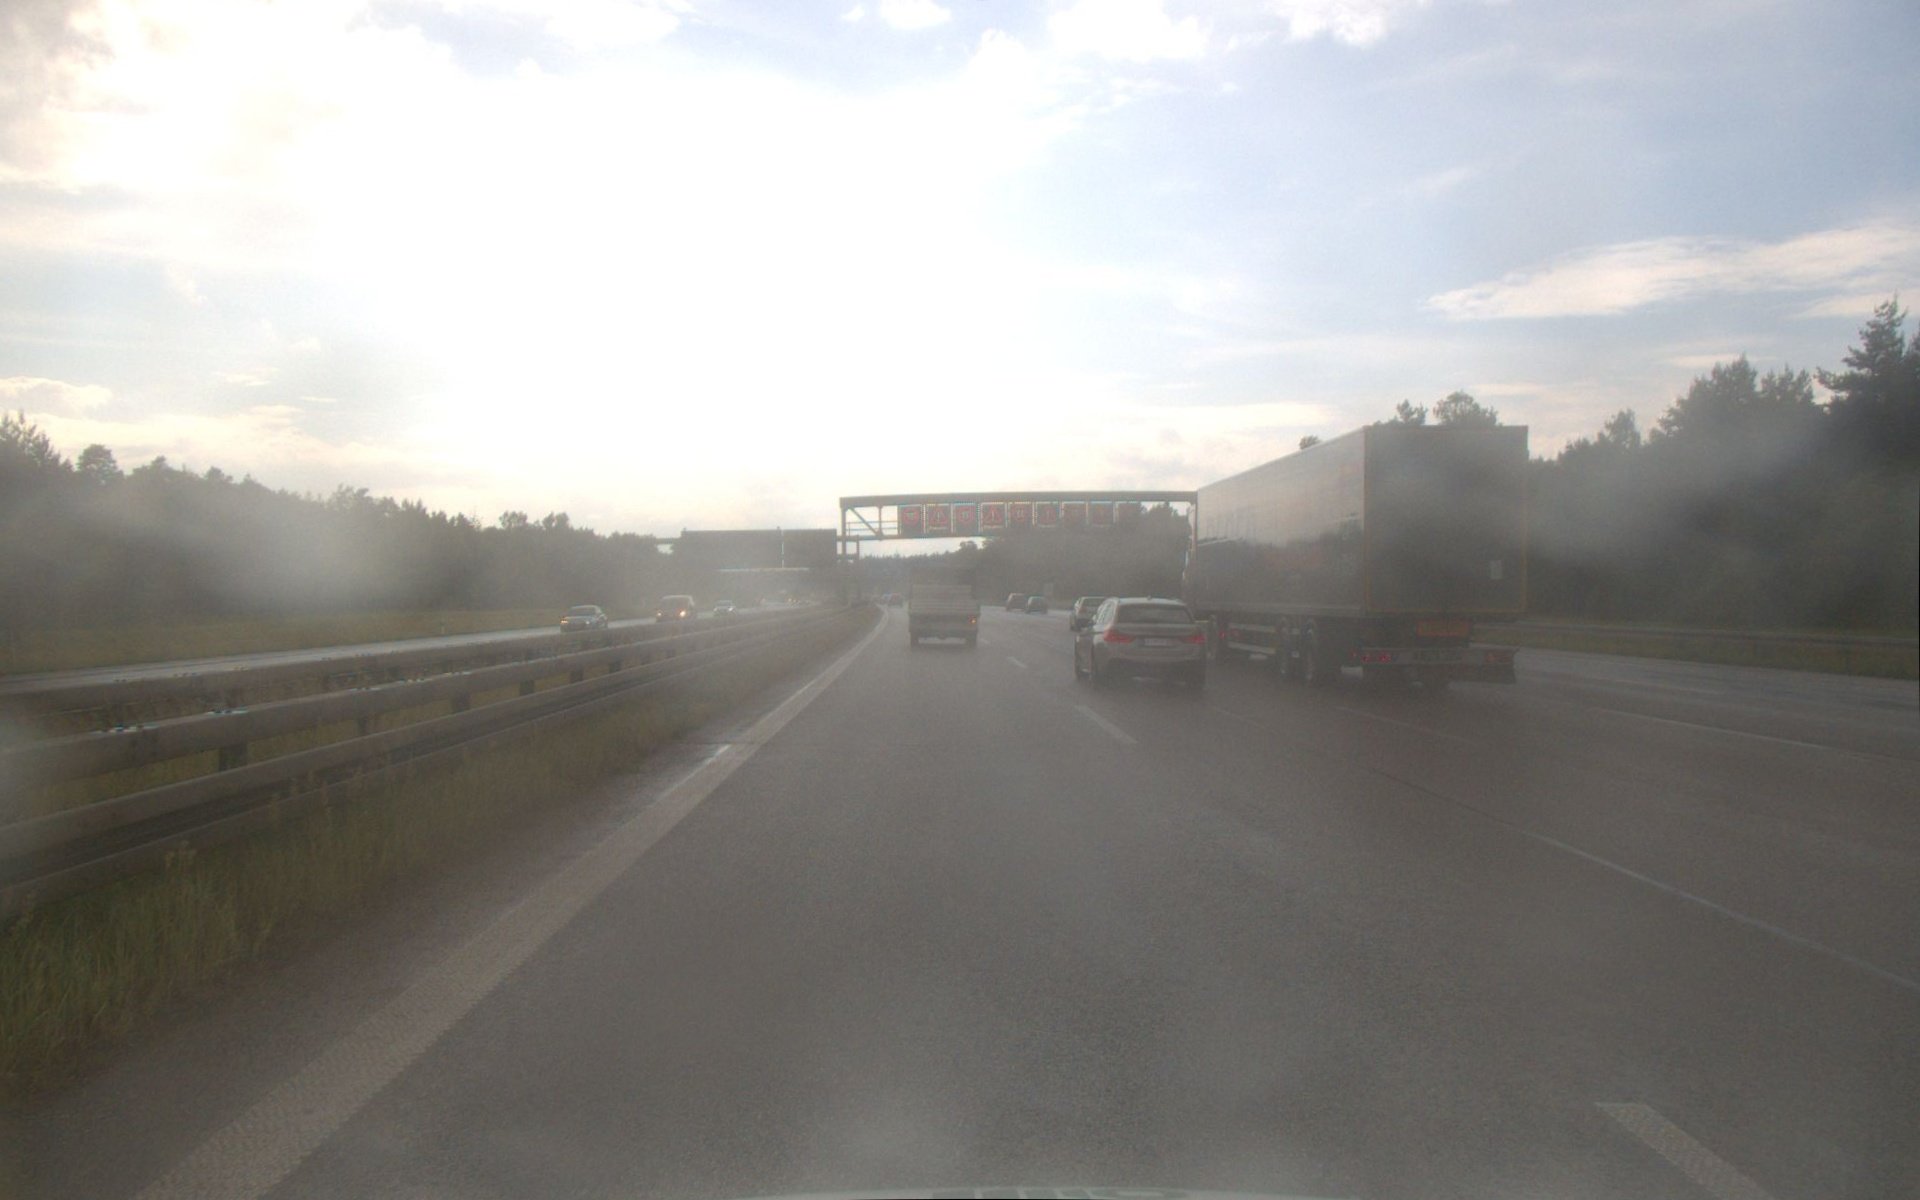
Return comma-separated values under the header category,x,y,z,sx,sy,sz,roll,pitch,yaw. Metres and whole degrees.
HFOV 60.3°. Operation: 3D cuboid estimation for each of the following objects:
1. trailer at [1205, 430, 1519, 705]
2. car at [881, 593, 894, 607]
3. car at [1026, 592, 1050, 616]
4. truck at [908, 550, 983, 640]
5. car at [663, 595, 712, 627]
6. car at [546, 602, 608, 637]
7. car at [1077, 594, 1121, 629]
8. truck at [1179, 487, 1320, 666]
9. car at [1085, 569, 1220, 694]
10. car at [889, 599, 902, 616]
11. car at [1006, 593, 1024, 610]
category,x,y,z,sx,sy,sz,roll,pitch,yaw
trailer,6.964,-0.504,31.212,2.277,4.071,13.407,0,0,-2
car,-11.269,-0.058,256.662,1.758,2.049,4.000,1,0,0
car,6.879,0.347,146.435,1.952,2.049,4.001,1,0,1
truck,-0.382,-0.157,49.237,2.093,2.532,5.313,0,0,1
car,-14.493,0.554,88.179,1.953,1.637,4.607,0,0,-1
car,-18.188,0.892,78.745,1.953,1.526,4.607,-2,0,-1
car,6.150,0.480,73.480,1.793,1.492,4.001,1,0,2
truck,6.723,-0.517,39.085,2.247,3.935,5.390,0,0,-2
car,3.175,0.472,28.228,2.034,1.918,5.014,1,0,4
car,-8.211,0.897,210.306,1.584,2.049,3.998,1,0,-2
car,5.669,0.143,170.860,1.706,1.718,3.999,0,0,-2
